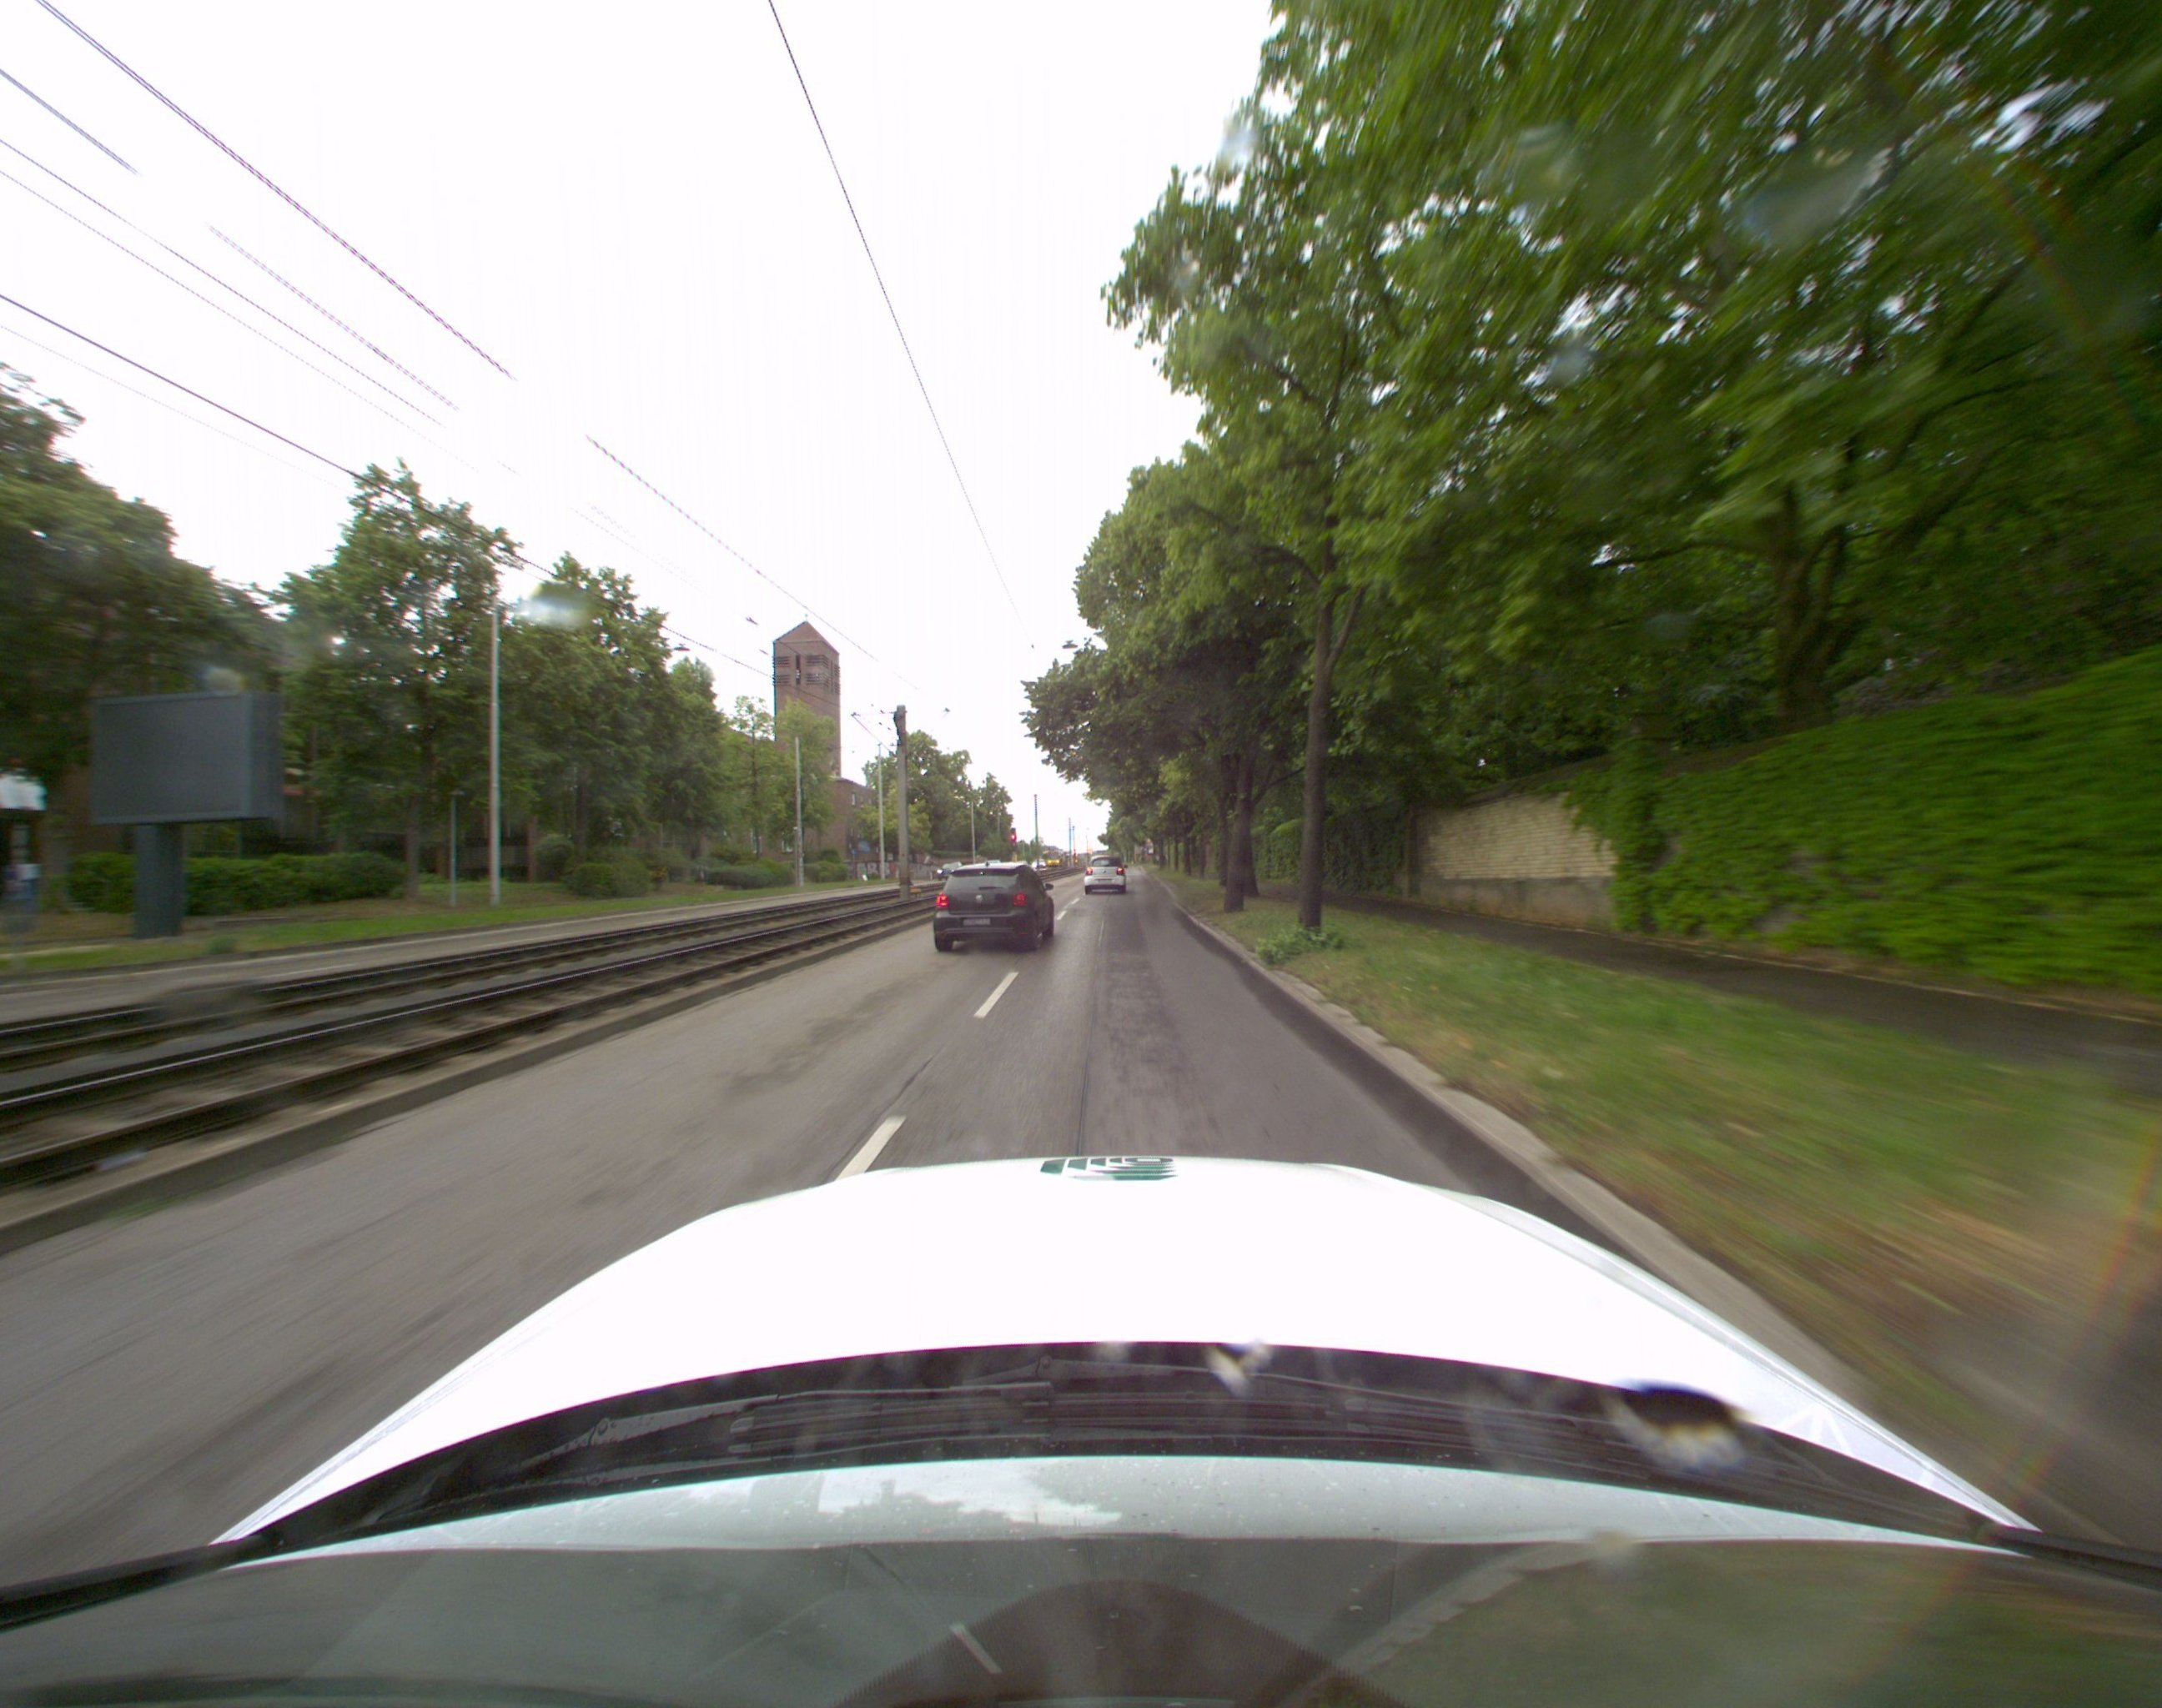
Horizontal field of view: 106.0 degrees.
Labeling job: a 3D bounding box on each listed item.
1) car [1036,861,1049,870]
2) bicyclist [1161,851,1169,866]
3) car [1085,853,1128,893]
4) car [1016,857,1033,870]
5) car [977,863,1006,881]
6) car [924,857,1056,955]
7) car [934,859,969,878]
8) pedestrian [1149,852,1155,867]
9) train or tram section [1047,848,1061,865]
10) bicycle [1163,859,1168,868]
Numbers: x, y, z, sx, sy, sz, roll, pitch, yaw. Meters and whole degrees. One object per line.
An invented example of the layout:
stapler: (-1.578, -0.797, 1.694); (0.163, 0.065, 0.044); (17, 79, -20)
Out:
car: (-7.341, 2.097, 154.603); (1.985, 1.662, 5.130); (-1, 0, 3)
bicyclist: (9.001, 0.458, 87.207); (0.760, 1.616, 0.999); (-2, 0, 3)
car: (1.122, 0.755, 34.211); (1.669, 1.531, 3.725); (-2, 0, 3)
car: (-7.139, 1.188, 103.534); (1.673, 1.461, 3.612); (-2, 0, 4)
car: (-8.614, 1.710, 78.495); (1.825, 1.656, 4.246); (-2, 0, 6)
car: (-1.472, 0.807, 14.624); (1.787, 1.485, 3.966); (0, 0, 2)
car: (-11.840, 1.313, 74.964); (2.003, 1.656, 4.624); (-2, 0, 6)
pedestrian: (14.215, 1.082, 162.166); (1.159, 2.977, 0.948); (-1, 0, 2)
train or tram section: (-5.946, 0.497, 180.436); (2.823, 3.605, 9.270); (-1, 0, 0)
bicycle: (9.009, 0.990, 87.201); (0.405, 0.902, 2.100); (-2, 0, 3)
